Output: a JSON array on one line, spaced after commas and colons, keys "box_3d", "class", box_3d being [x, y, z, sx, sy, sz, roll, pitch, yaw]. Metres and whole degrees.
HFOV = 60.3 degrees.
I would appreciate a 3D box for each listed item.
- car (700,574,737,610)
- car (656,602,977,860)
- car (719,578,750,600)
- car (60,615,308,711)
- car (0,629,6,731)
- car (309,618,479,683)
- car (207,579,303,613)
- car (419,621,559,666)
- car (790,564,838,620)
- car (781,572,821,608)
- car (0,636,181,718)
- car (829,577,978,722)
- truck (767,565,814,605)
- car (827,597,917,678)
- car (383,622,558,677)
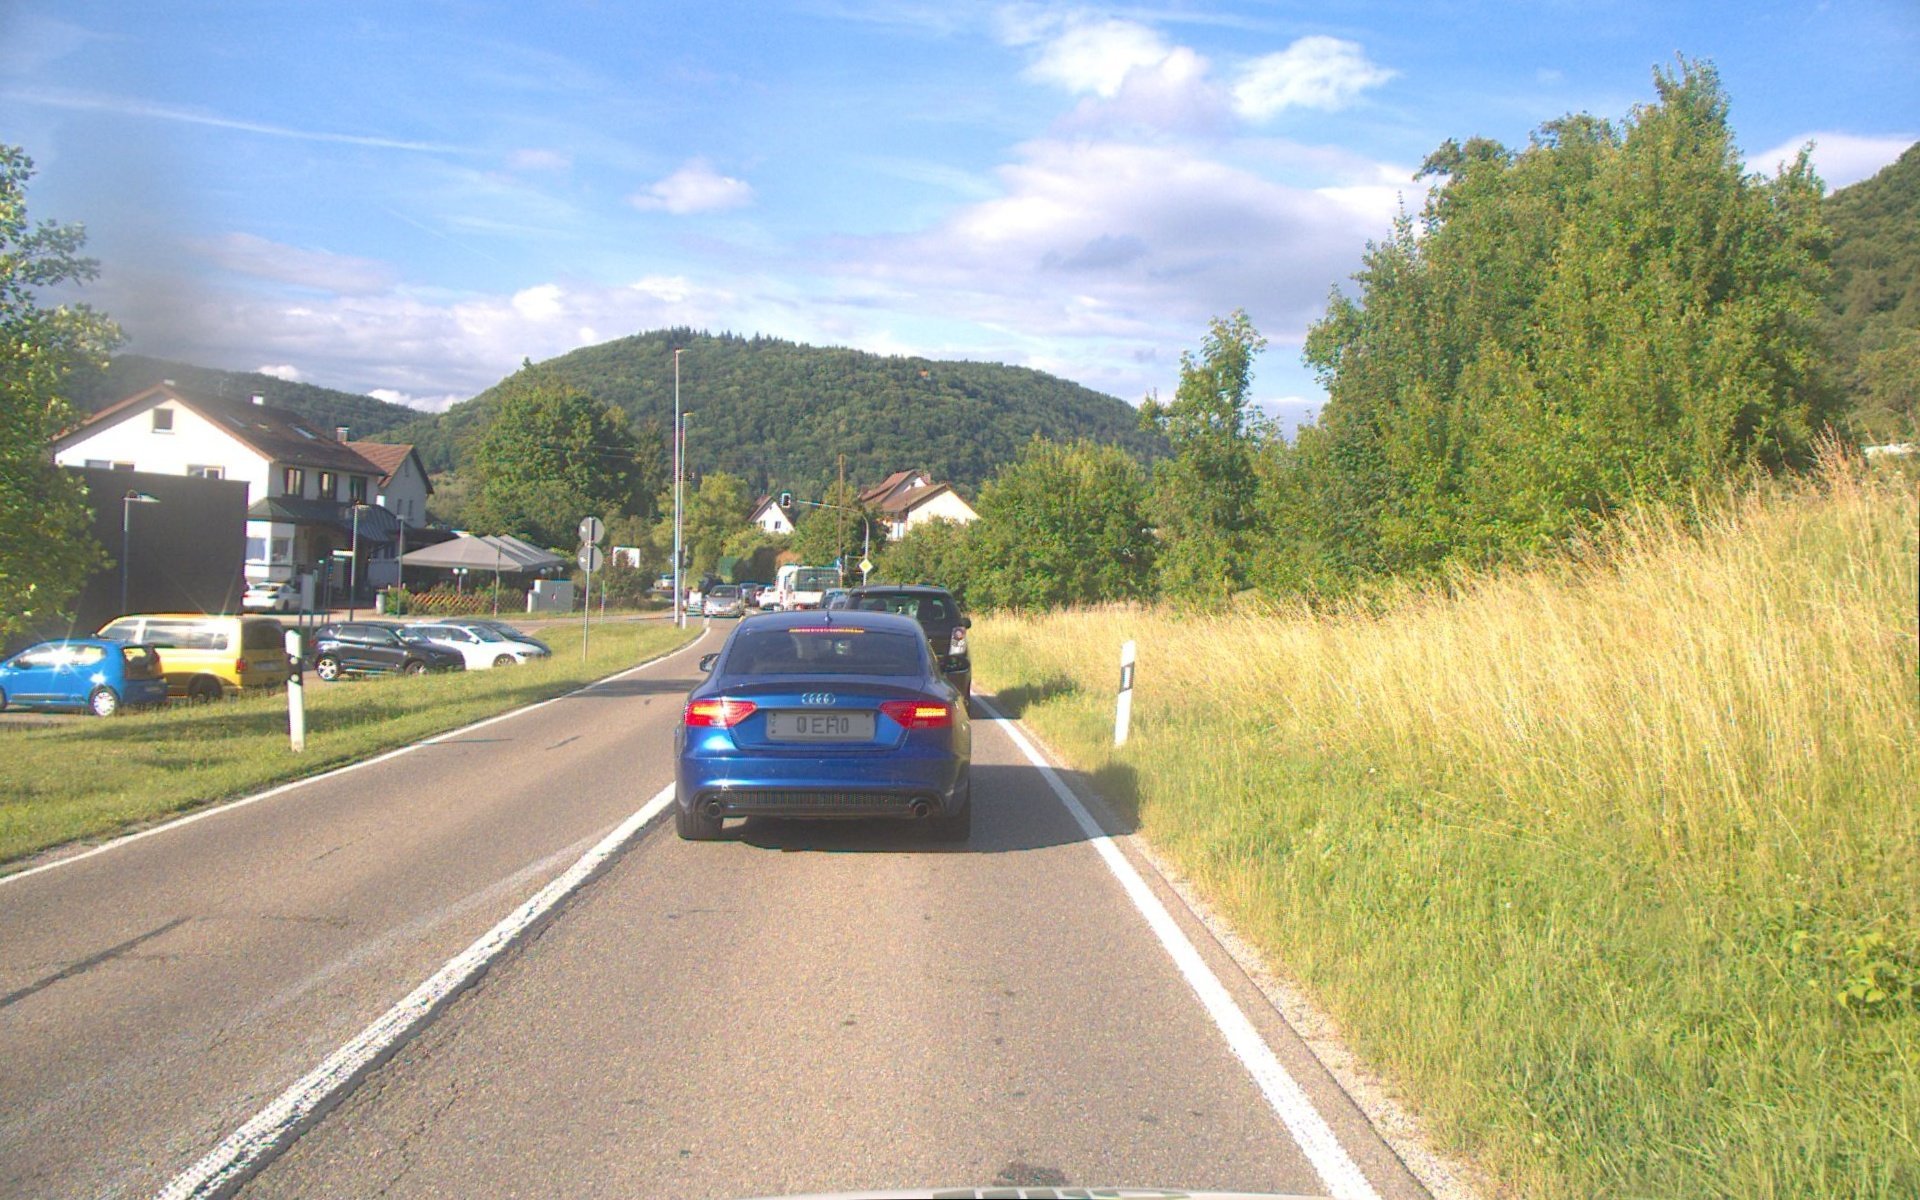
[{"box_3d": [-11.718, -0.382, 80.406, 1.702, 1.691, 3.465, 1, 0, -8], "class": "car"}, {"box_3d": [-0.775, 0.736, 11.103, 1.758, 1.412, 4.000, 0, 0, 0], "class": "car"}, {"box_3d": [-16.504, -0.775, 120.940, 1.670, 1.516, 3.510, 1, 0, -17], "class": "car"}, {"box_3d": [-16.787, 1.331, 35.855, 4.512, 1.900, 2.002, 1, -1, 11], "class": "car"}, {"box_3d": [-18.691, 1.321, 27.635, 4.442, 1.733, 2.001, 1, -1, 8], "class": "car"}, {"box_3d": [-15.640, 1.372, 45.840, 3.939, 1.666, 2.001, 1, -1, 8], "class": "car"}, {"box_3d": [-31.929, -0.157, 75.008, 1.728, 1.467, 4.000, 1, 0, 20], "class": "car"}, {"box_3d": [-14.964, 1.374, 52.671, 3.903, 1.333, 1.761, 1, -1, 4], "class": "car"}, {"box_3d": [-6.088, -0.312, 68.665, 1.713, 2.234, 3.993, 1, 0, -8], "class": "car"}, {"box_3d": [-7.727, -0.457, 80.226, 1.713, 1.668, 3.993, 1, 0, -8], "class": "car"}, {"box_3d": [-17.793, 1.522, 33.282, 3.419, 1.498, 1.634, 1, -1, 6], "class": "car"}, {"box_3d": [-0.649, 0.594, 21.353, 1.710, 1.668, 4.000, 1, 0, 0], "class": "car"}, {"box_3d": [-8.774, -0.745, 85.375, 1.668, 1.988, 5.902, 1, 0, -13], "class": "truck"}, {"box_3d": [-1.911, 0.811, 37.024, 1.768, 1.668, 4.462, 1, 0, -1], "class": "car"}, {"box_3d": [-14.858, 1.487, 50.298, 4.711, 1.520, 1.882, 1, -1, 8], "class": "car"}]
